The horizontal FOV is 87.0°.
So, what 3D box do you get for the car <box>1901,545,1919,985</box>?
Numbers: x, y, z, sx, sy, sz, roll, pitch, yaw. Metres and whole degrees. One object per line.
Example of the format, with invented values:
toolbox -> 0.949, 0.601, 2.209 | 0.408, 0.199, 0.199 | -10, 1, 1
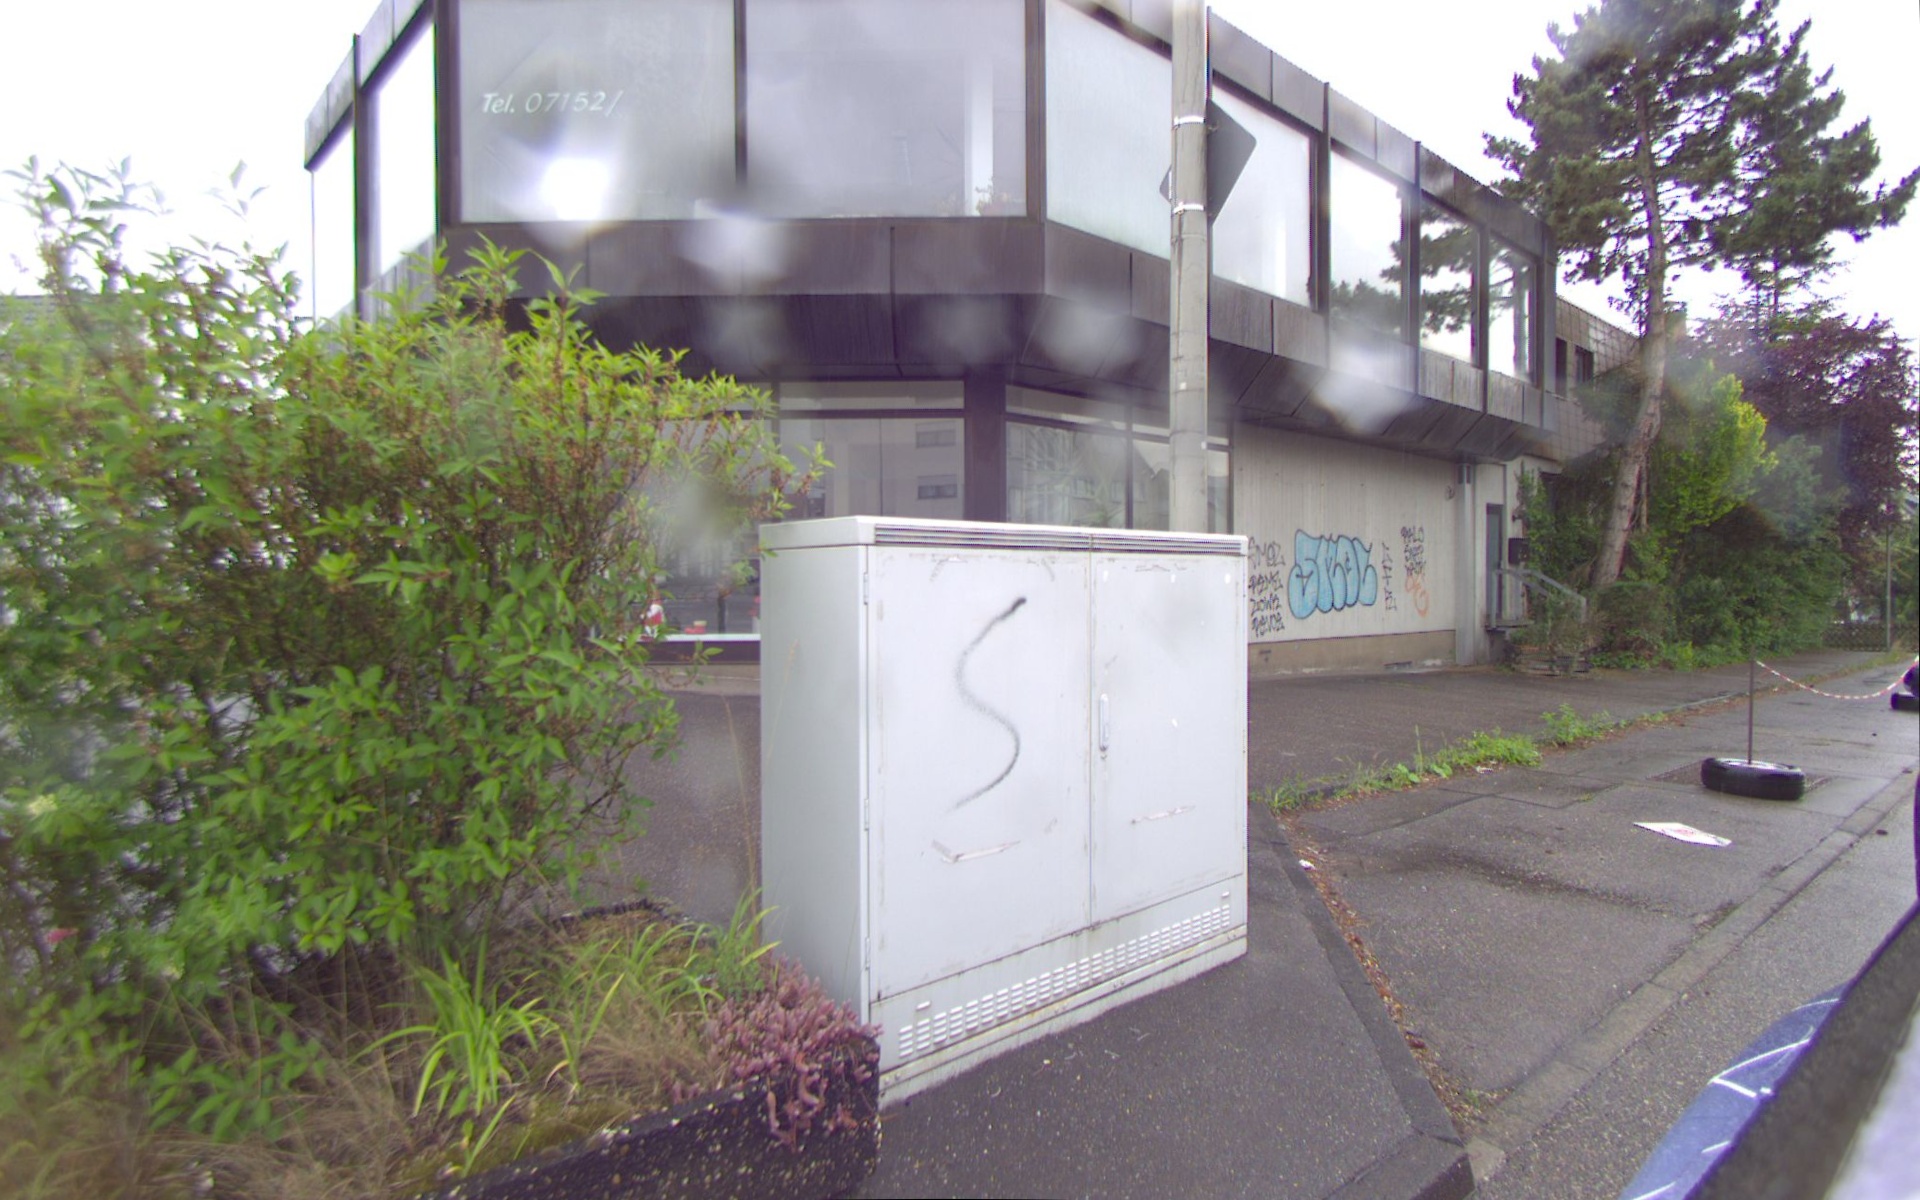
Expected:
car -> 5.683, 0.582, 4.465 | 4.595, 1.562, 1.753 | -1, 1, -41
